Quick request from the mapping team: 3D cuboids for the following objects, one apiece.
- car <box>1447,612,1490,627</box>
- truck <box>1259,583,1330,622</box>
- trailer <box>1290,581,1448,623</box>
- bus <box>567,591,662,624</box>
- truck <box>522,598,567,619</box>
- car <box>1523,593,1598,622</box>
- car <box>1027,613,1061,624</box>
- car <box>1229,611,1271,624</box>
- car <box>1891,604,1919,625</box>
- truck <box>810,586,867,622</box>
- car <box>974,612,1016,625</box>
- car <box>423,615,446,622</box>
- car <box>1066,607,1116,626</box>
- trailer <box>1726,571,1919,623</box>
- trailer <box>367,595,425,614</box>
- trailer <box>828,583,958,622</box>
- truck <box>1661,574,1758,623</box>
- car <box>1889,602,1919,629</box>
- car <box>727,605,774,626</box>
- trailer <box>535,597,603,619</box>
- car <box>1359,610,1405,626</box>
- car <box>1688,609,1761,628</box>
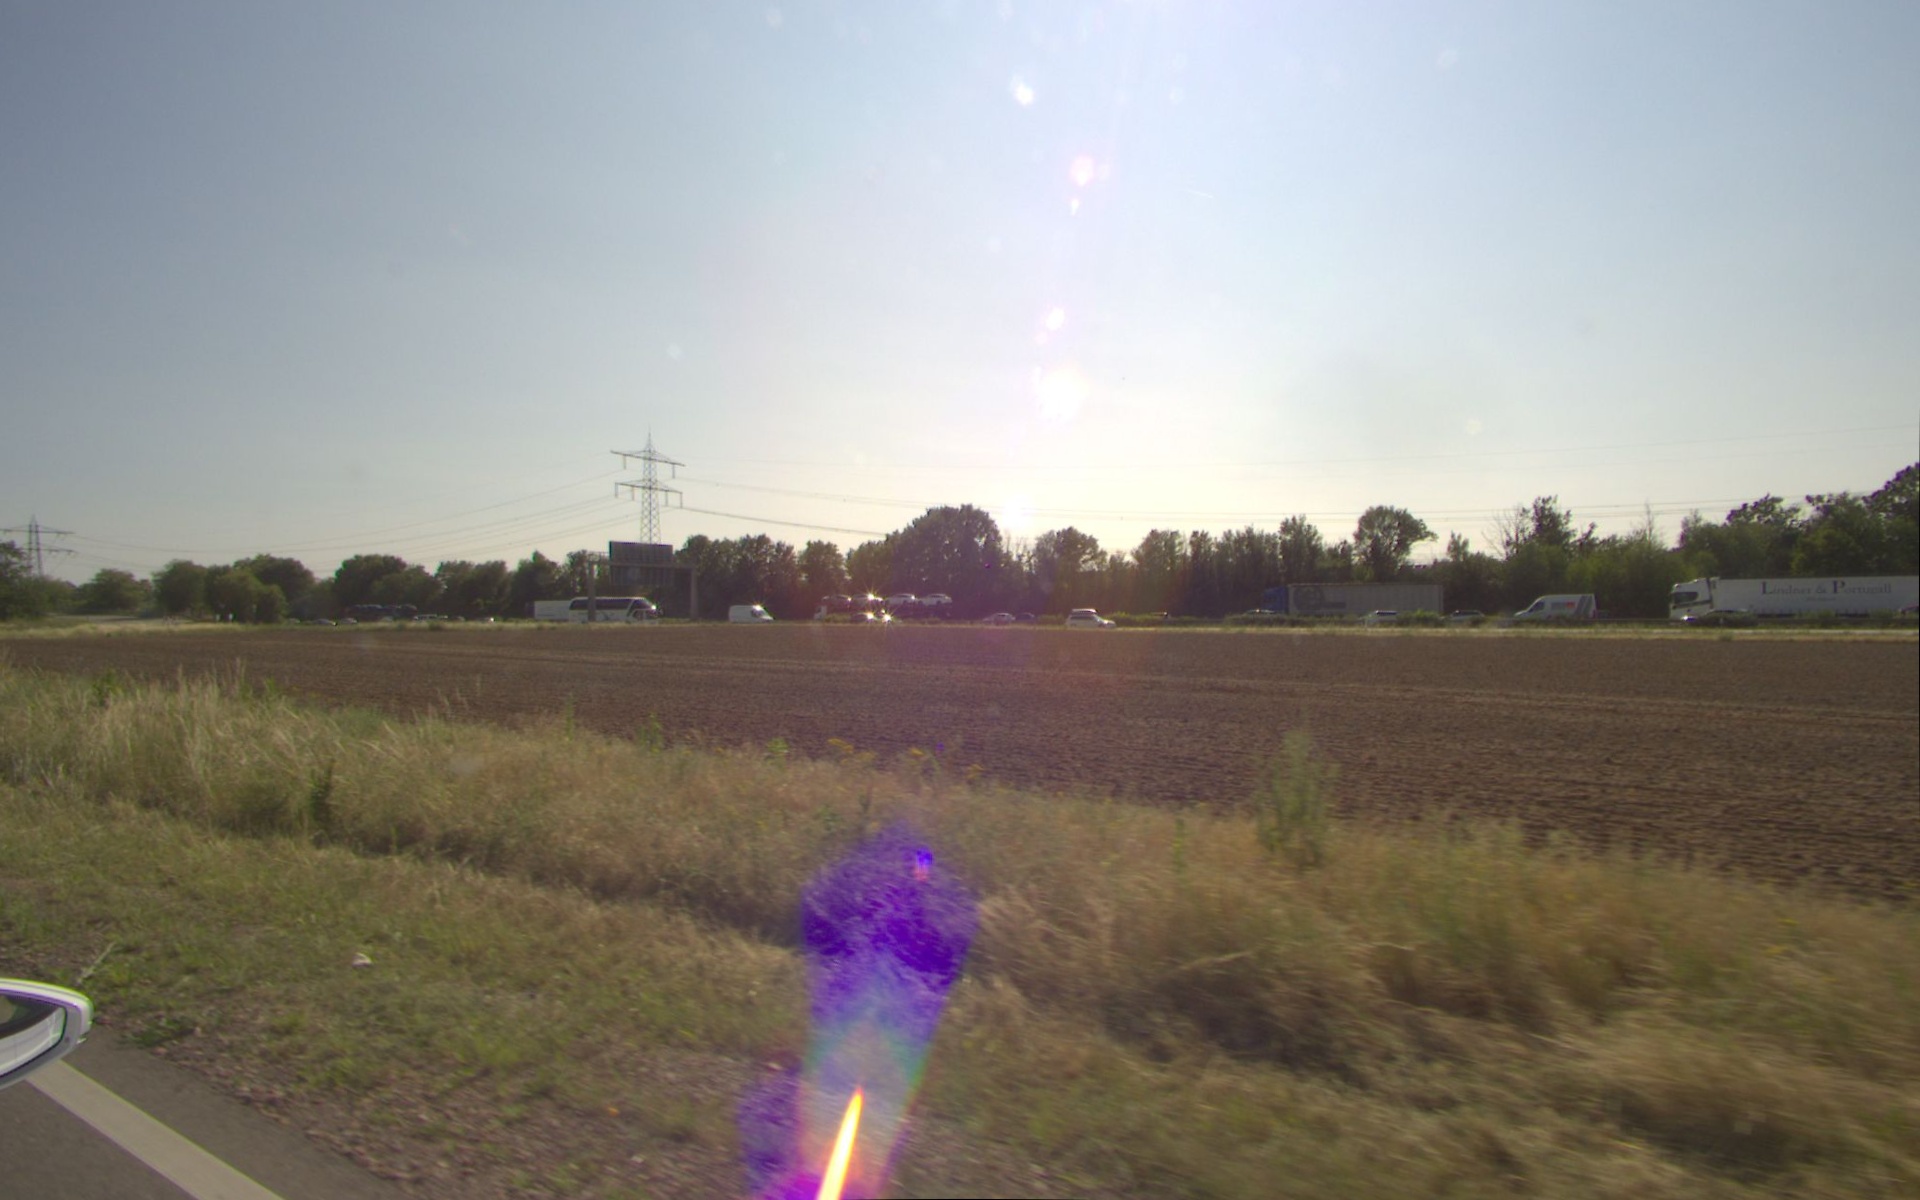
[{"bbox_3d":[42.779,1.632,84.224,3.135,1.166,1.392,0,-1,32],"label":"car"},{"bbox_3d":[32.772,0.247,98.026,6.002,3.782,3.065,0,0,34],"label":"truck"},{"bbox_3d":[38.321,0.193,94.306,13.439,3.782,3.064,0,0,34],"label":"trailer"},{"bbox_3d":[-43.172,0.910,124.730,14.328,3.854,2.459,0,0,30],"label":"bus"},{"bbox_3d":[-66.858,1.329,161.223,6.877,3.310,3.278,-1,0,31],"label":"truck"},{"bbox_3d":[48.537,0.593,80.979,5.162,2.228,1.902,0,-1,32],"label":"car"},{"bbox_3d":[9.475,2.061,112.952,3.528,1.166,1.393,0,-1,30],"label":"car"},{"bbox_3d":[27.103,1.637,93.580,3.531,1.166,1.392,0,-1,33],"label":"car"},{"bbox_3d":[67.937,1.030,69.799,4.186,1.403,1.848,0,-1,32],"label":"car"},{"bbox_3d":[-15.626,0.494,128.867,6.607,4.512,3.416,-1,0,30],"label":"truck"},{"bbox_3d":[3.827,1.995,108.888,4.186,1.403,1.848,0,-1,32],"label":"car"},{"bbox_3d":[-86.595,3.002,164.939,3.678,1.162,1.664,-1,-2,32],"label":"car"},{"bbox_3d":[11.758,1.493,89.888,4.137,1.563,1.700,-1,-2,33],"label":"car"},{"bbox_3d":[66.914,-0.161,76.460,13.179,3.782,3.065,-1,-1,34],"label":"trailer"},{"bbox_3d":[-102.660,0.862,182.121,13.255,3.310,3.279,0,0,31],"label":"trailer"},{"bbox_3d":[-8.527,0.390,124.673,17.304,4.512,3.415,-1,0,30],"label":"trailer"},{"bbox_3d":[60.355,-0.083,80.788,6.032,3.782,3.065,0,-1,33],"label":"truck"},{"bbox_3d":[58.581,0.941,59.880,4.137,1.563,1.700,-1,-2,33],"label":"car"},{"bbox_3d":[-24.465,1.845,116.854,5.442,2.402,1.990,-1,-2,32],"label":"car"},{"bbox_3d":[-61.859,1.257,158.136,12.274,3.310,3.278,-1,0,31],"label":"trailer"},{"bbox_3d":[37.150,1.585,88.078,3.551,1.403,1.489,0,-1,32],"label":"car"},{"bbox_3d":[57.947,1.418,75.973,4.186,1.403,1.848,0,-1,32],"label":"car"}]
